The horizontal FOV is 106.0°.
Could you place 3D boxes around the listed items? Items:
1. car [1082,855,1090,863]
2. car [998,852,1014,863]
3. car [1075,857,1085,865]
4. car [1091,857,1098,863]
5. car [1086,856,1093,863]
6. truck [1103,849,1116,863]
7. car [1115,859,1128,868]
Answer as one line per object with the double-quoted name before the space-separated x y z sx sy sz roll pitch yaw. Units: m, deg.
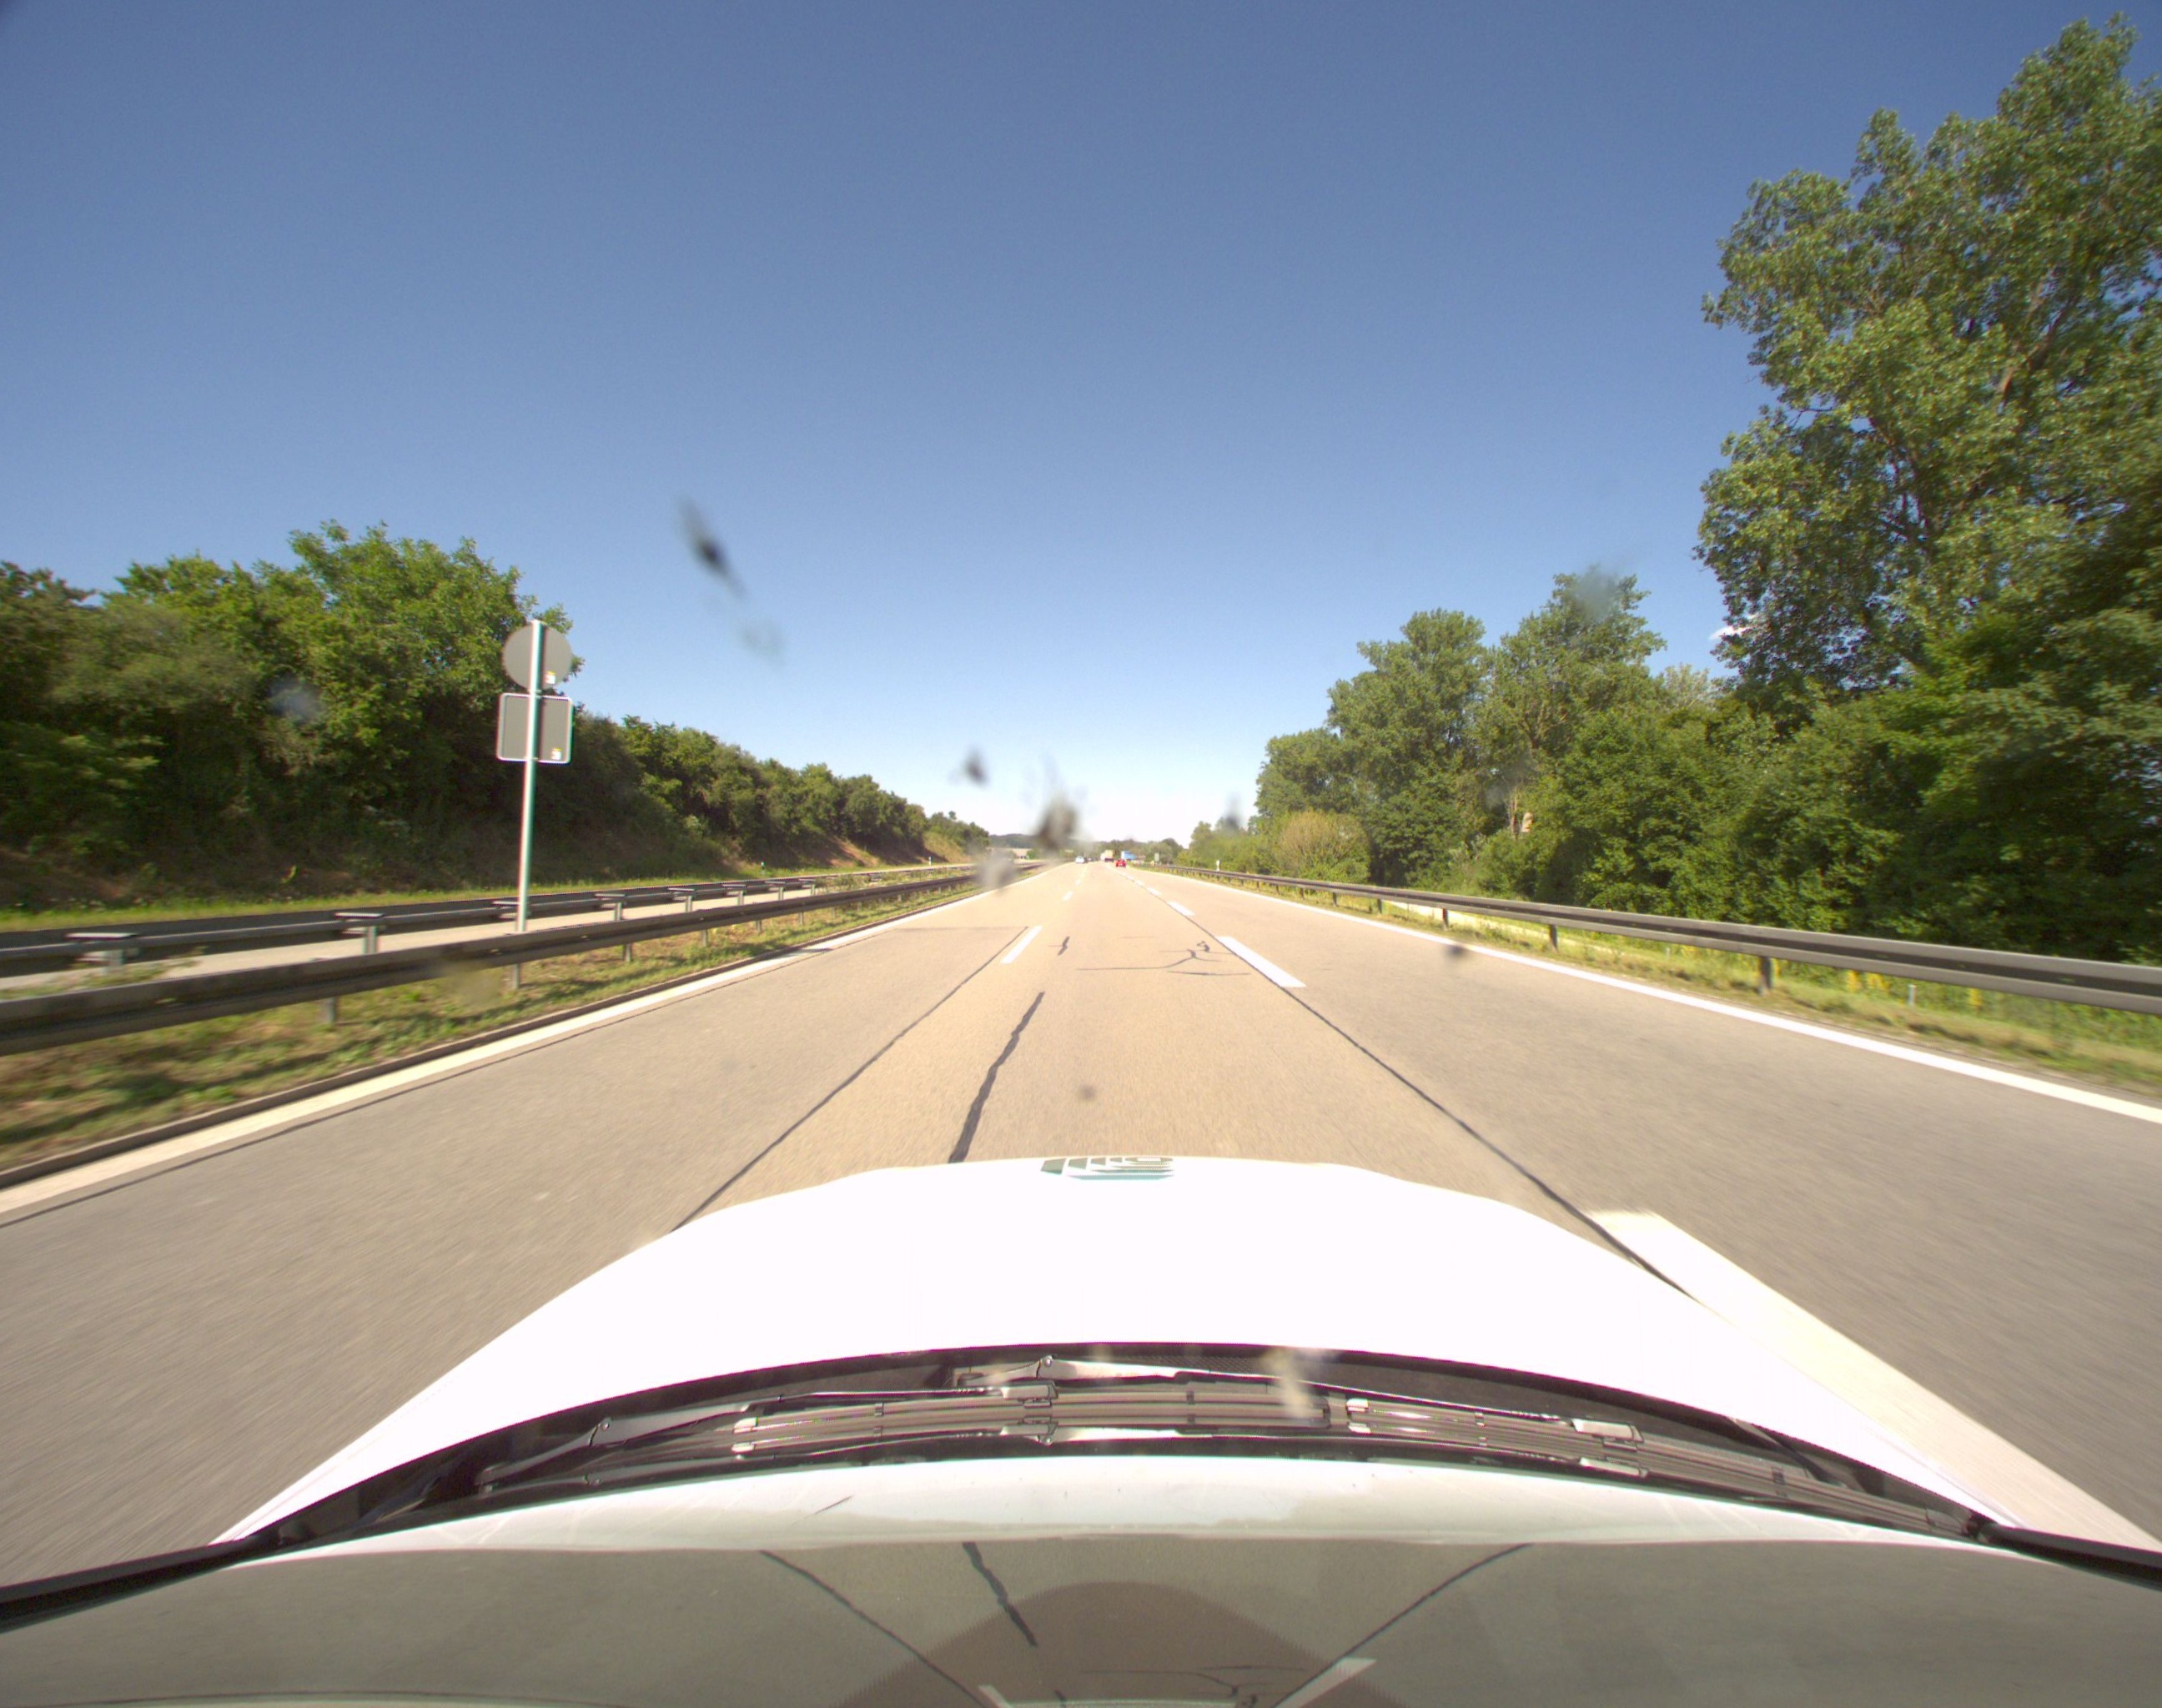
"car" 1.174 1.238 188.914 1.987 1.750 4.000 1 0 1
"car" -11.815 0.599 128.704 1.987 1.645 5.084 0 -1 1
"car" -0.221 1.440 171.853 2.054 1.625 3.999 0 -3 1
"car" 4.418 1.832 260.368 1.985 1.750 4.003 1 0 3
"car" 2.510 1.504 230.527 1.987 1.750 4.000 1 0 1
"truck" 9.186 0.681 262.025 3.821 4.397 11.480 0 0 3
"car" 7.187 1.642 144.662 1.773 1.431 4.009 4 -1 9
